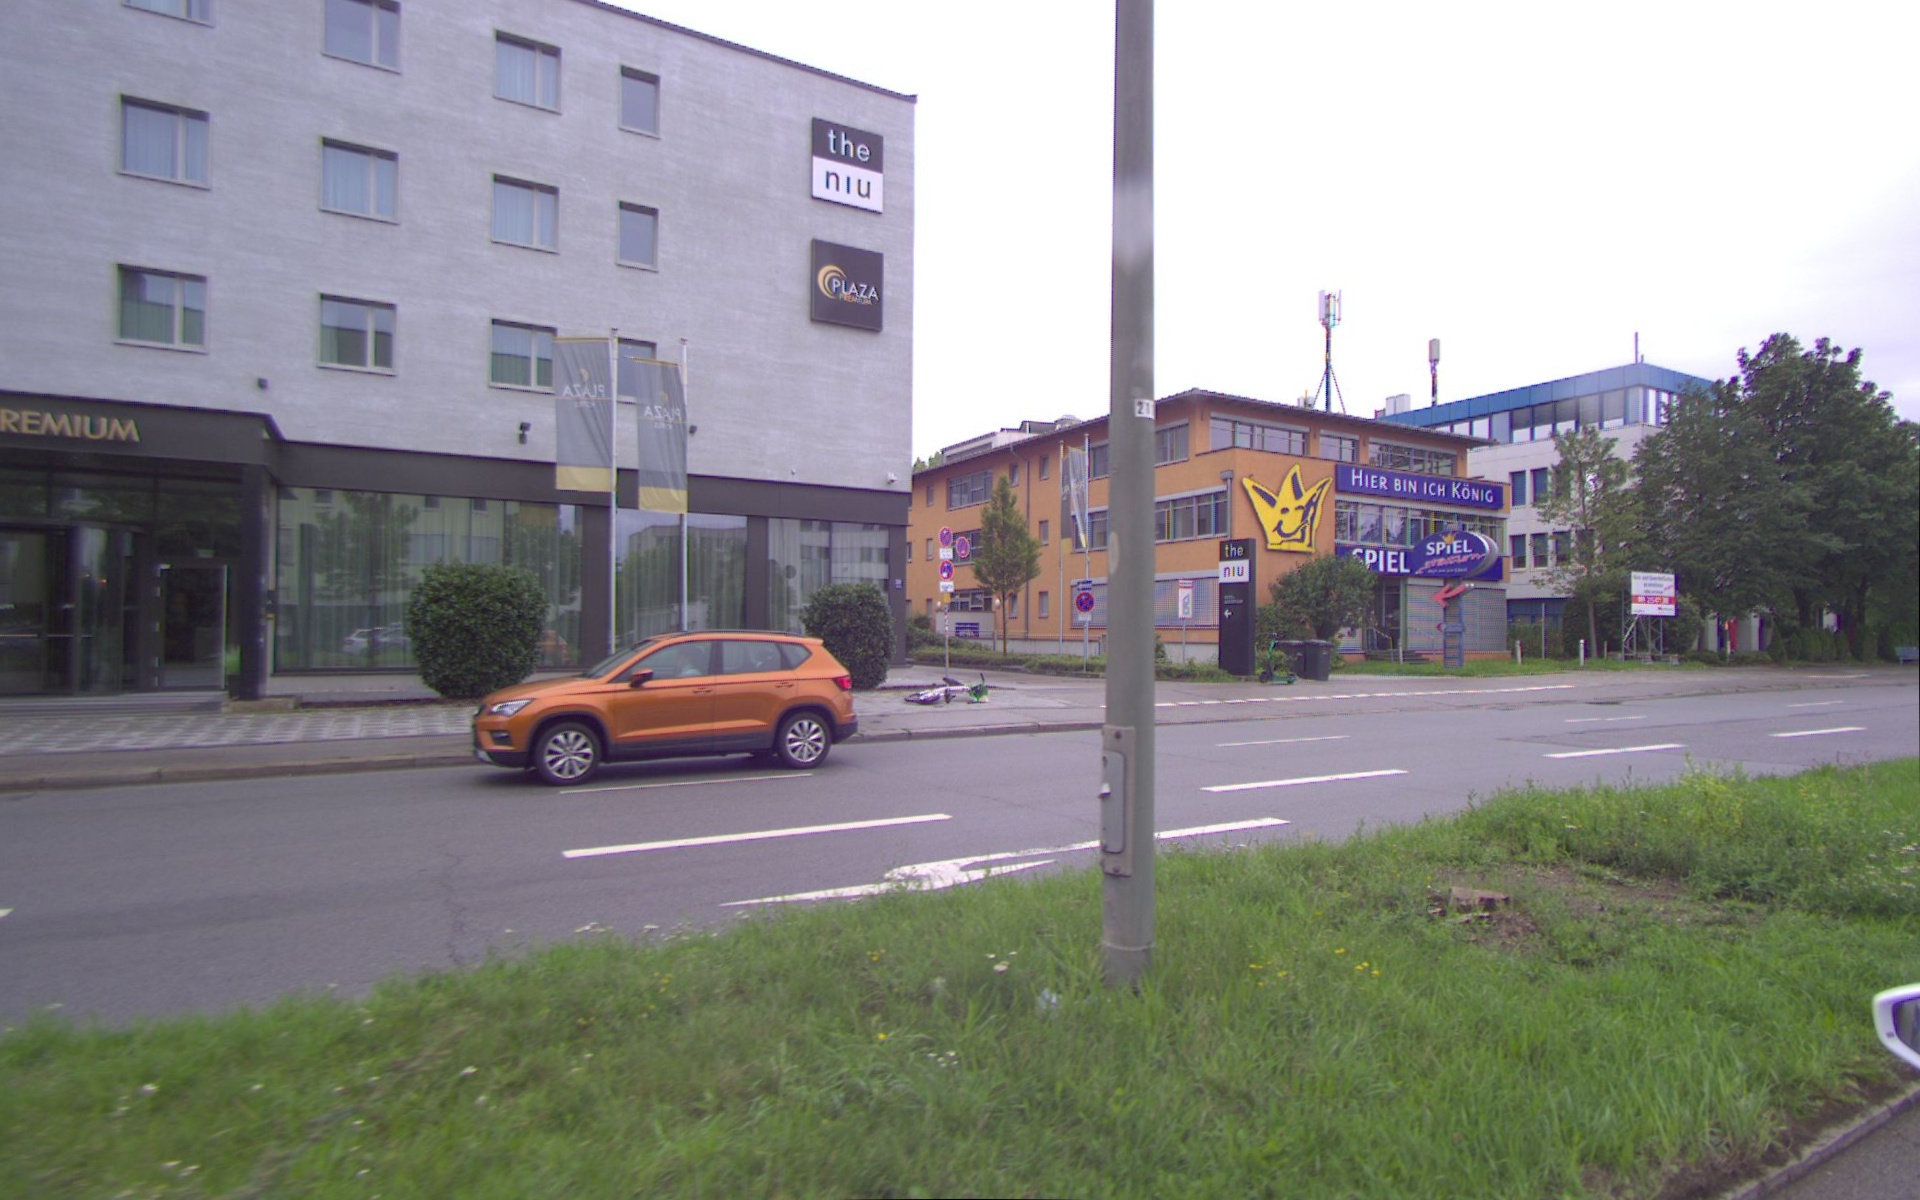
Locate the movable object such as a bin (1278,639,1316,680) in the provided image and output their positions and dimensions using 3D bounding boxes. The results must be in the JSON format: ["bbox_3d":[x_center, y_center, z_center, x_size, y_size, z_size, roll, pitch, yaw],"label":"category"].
[{"bbox_3d":[9.258,1.620,27.625,0.647,1.092,0.734,1,0,-29],"label":"movable object such as a bin"}]

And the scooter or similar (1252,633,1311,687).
[{"bbox_3d":[8.129,1.513,25.407,1.387,1.295,0.583,1,3,-29],"label":"scooter or similar"}]

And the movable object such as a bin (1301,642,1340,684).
[{"bbox_3d":[9.648,1.685,26.925,0.647,1.092,0.734,1,0,-29],"label":"movable object such as a bin"}]

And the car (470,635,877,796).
[{"bbox_3d":[-3.249,1.206,11.642,4.253,1.568,1.728,1,-3,-30],"label":"car"}]

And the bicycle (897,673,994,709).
[{"bbox_3d":[-0.267,1.712,19.034,1.712,0.556,0.716,1,2,-30],"label":"bicycle"}]

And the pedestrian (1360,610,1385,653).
[{"bbox_3d":[16.911,1.300,41.182,0.655,1.735,0.655,1,0,-29],"label":"pedestrian"}]

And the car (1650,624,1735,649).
[{"bbox_3d":[46.415,2.276,63.744,1.837,1.437,4.167,1,-1,-12],"label":"car"}]
